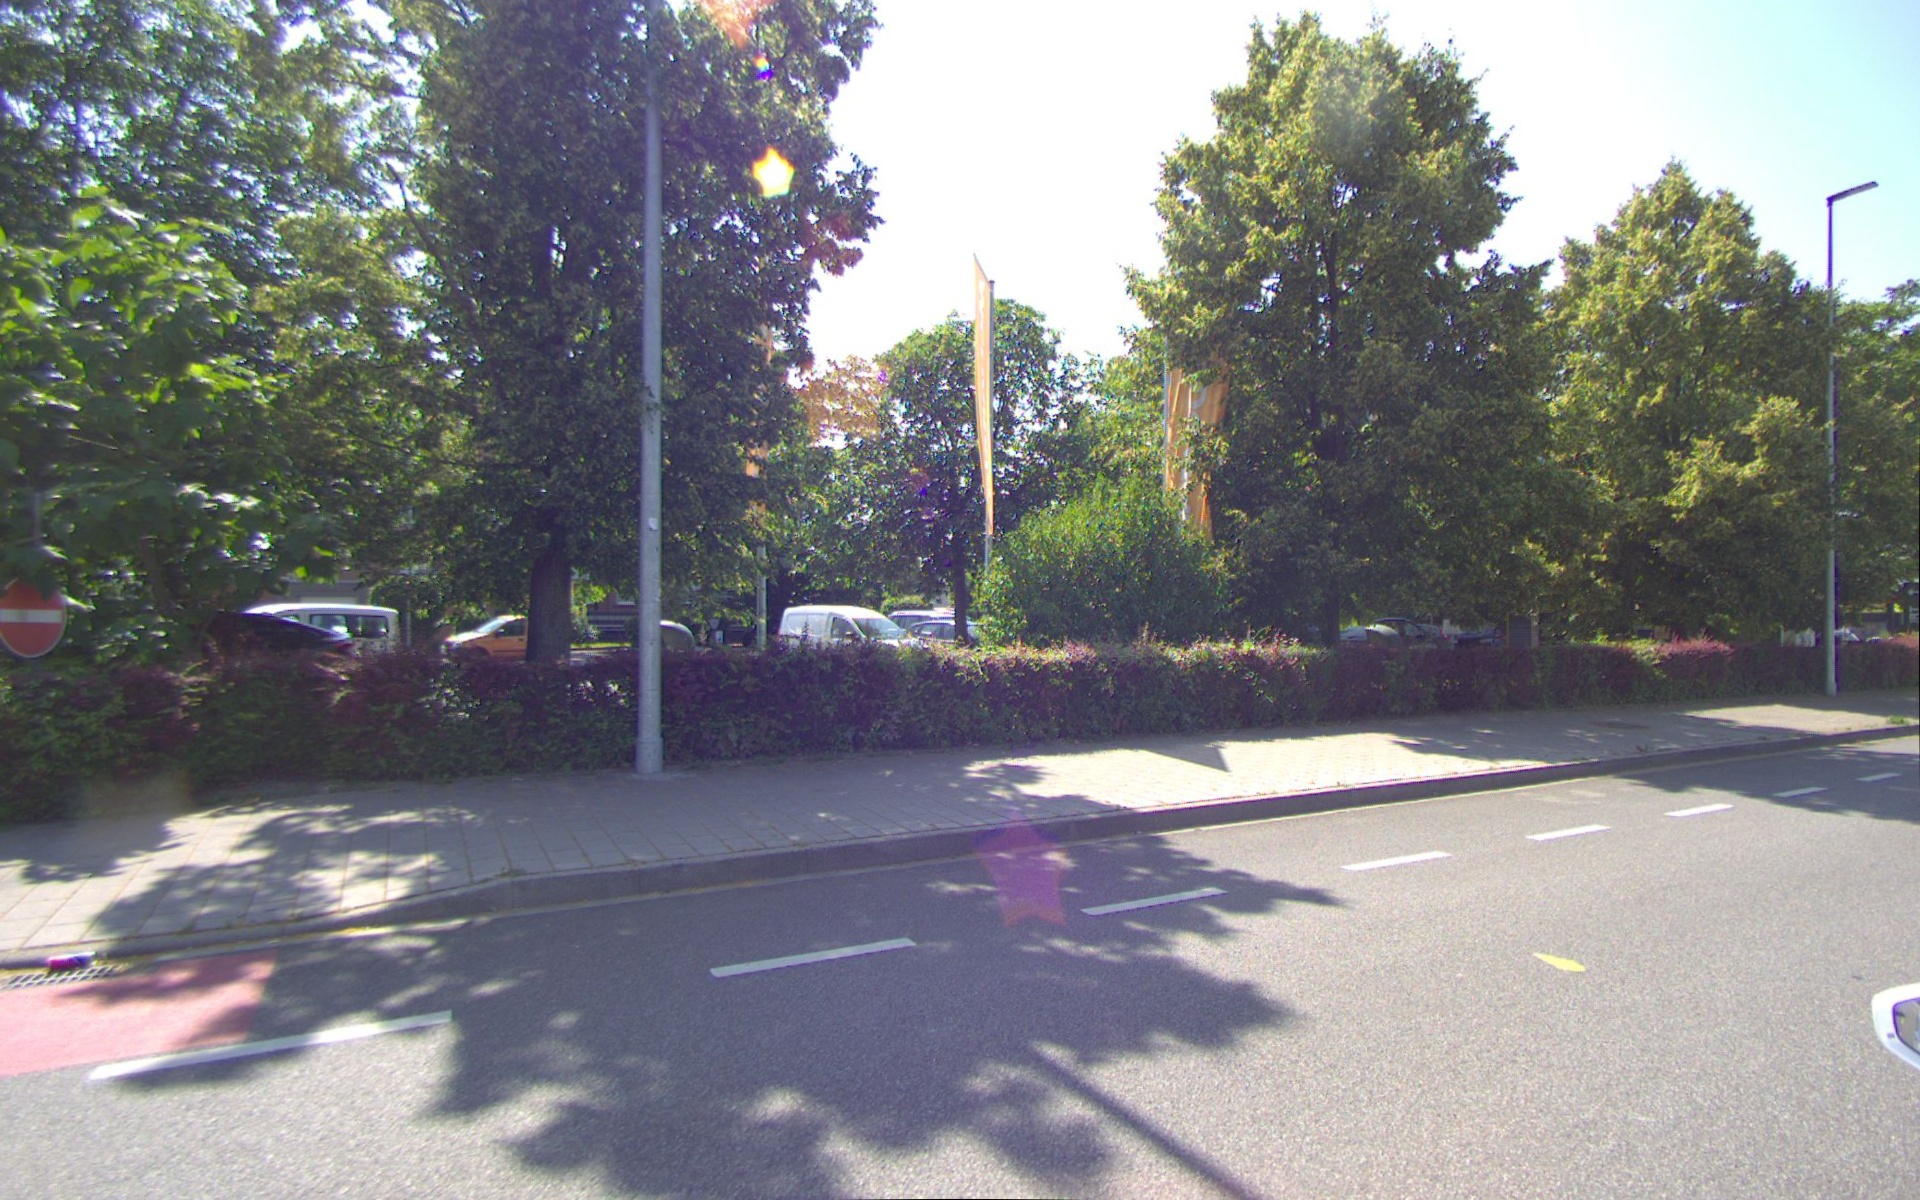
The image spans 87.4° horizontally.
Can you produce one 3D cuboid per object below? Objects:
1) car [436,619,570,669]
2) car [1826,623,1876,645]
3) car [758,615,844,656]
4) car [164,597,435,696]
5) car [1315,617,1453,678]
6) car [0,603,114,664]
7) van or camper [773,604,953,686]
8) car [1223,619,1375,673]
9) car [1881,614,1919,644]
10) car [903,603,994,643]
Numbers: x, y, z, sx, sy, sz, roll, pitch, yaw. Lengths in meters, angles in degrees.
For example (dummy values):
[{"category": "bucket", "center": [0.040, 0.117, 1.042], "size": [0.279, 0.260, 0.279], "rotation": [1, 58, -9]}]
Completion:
[{"category": "car", "center": [-13.547, 1.268, 29.859], "size": [3.323, 1.394, 1.570], "rotation": [1, -1, -45]}, {"category": "car", "center": [62.413, 2.371, 70.420], "size": [1.542, 1.439, 3.686], "rotation": [0, -1, 23]}, {"category": "car", "center": [-6.666, 1.455, 41.856], "size": [1.784, 1.619, 3.953], "rotation": [1, -1, -40]}, {"category": "car", "center": [-13.103, 0.880, 20.159], "size": [1.691, 1.758, 4.230], "rotation": [-1, -1, 38]}, {"category": "car", "center": [11.882, 1.290, 28.097], "size": [3.711, 1.624, 1.674], "rotation": [1, -1, -30]}, {"category": "car", "center": [-27.266, 0.956, 28.937], "size": [4.320, 1.707, 1.752], "rotation": [1, -1, -44]}, {"category": "van or camper", "center": [-2.346, 1.003, 23.688], "size": [4.226, 1.763, 1.988], "rotation": [-1, -1, 44]}, {"category": "car", "center": [10.157, 1.328, 30.004], "size": [4.602, 1.530, 1.774], "rotation": [1, -1, -31]}, {"category": "car", "center": [64.657, 1.975, 68.235], "size": [1.962, 1.929, 3.997], "rotation": [0, -1, 25]}, {"category": "car", "center": [-0.549, 0.966, 42.847], "size": [1.784, 1.619, 3.953], "rotation": [1, -1, -40]}]
